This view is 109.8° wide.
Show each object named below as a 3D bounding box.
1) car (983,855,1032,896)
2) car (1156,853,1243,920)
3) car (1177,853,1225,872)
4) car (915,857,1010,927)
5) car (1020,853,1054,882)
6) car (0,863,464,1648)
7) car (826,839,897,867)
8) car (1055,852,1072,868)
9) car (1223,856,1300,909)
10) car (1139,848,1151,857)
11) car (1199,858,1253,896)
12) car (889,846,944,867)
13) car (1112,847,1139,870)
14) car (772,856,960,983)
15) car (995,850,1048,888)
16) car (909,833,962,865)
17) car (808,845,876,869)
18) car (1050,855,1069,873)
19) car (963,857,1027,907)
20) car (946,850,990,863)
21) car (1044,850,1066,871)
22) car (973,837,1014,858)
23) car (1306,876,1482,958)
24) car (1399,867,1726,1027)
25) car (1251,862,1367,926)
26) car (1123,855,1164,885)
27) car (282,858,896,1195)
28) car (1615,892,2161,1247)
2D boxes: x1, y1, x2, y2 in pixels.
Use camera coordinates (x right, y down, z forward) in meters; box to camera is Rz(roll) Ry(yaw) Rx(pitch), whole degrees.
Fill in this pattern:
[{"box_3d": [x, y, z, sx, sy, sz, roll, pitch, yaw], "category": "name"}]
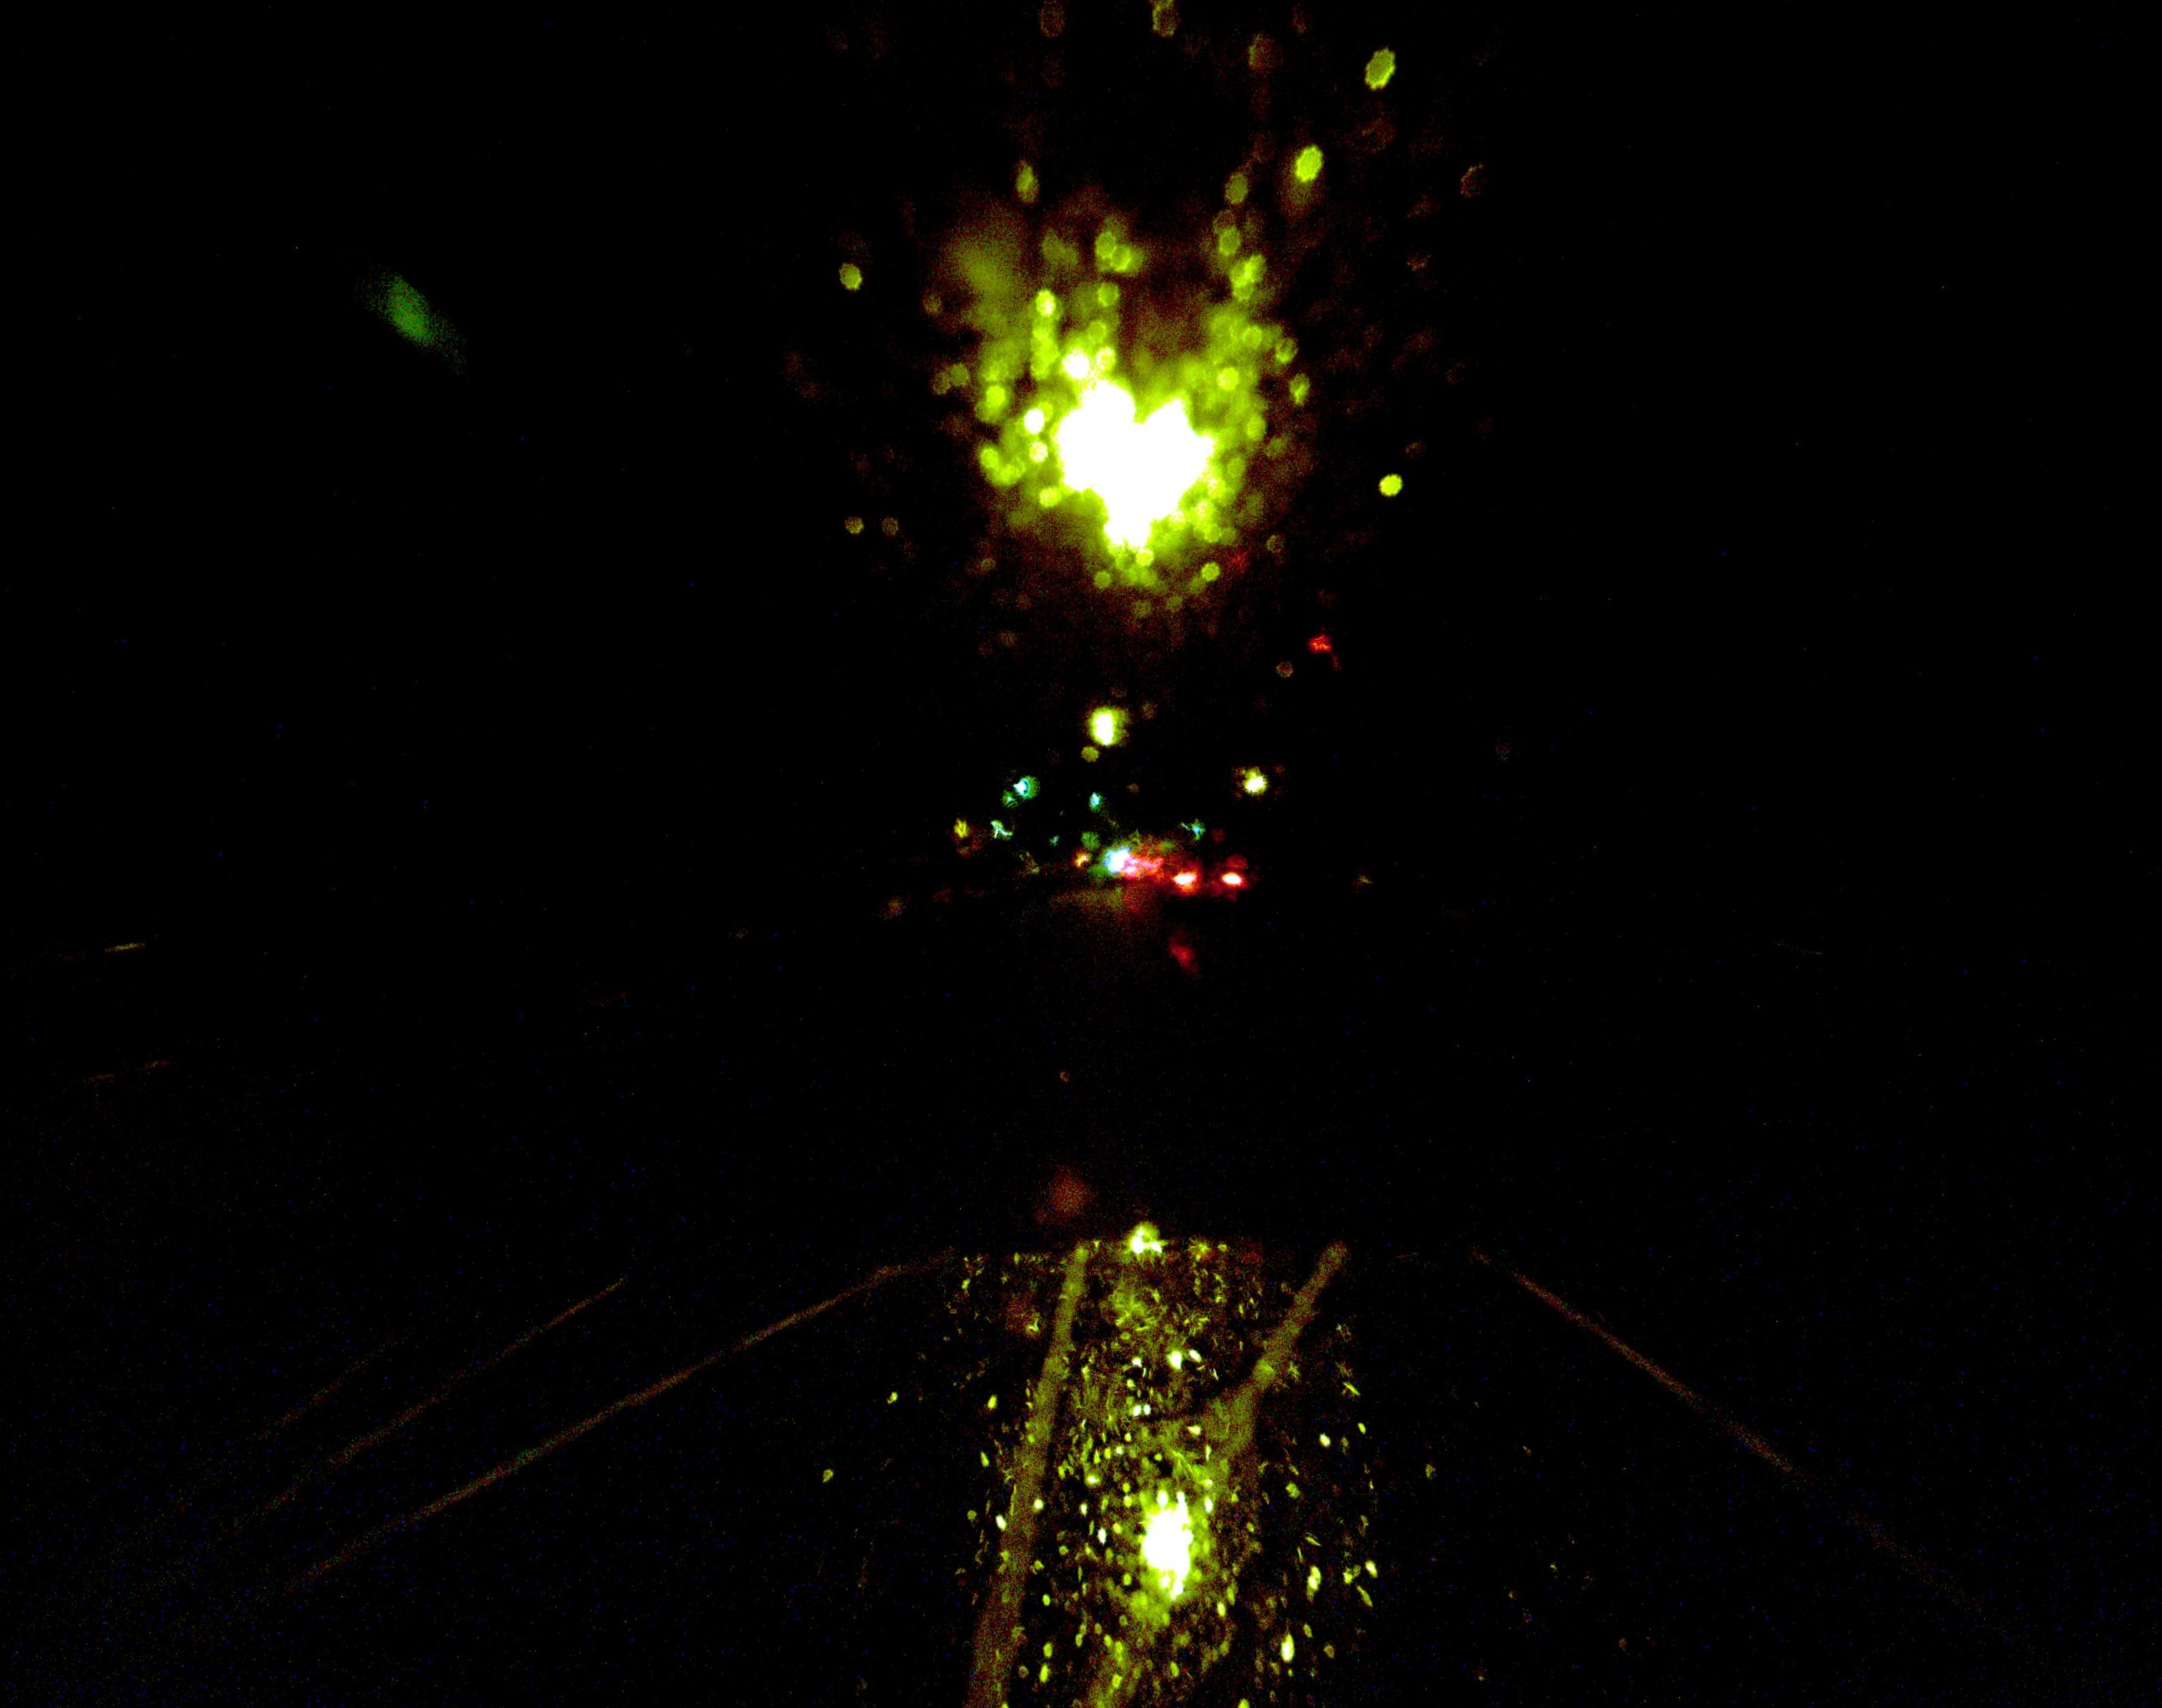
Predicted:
[{"box_3d": [-2.799, 0.785, 29.581, 1.608, 1.464, 3.951, 2, 0, -2], "category": "car"}, {"box_3d": [3.031, 0.789, 20.221, 1.710, 1.531, 4.371, 2, 0, 2], "category": "car"}, {"box_3d": [11.843, 0.821, 74.929, 4.539, 1.695, 1.853, 2, 0, 15], "category": "car"}, {"box_3d": [-2.769, 0.845, 18.582, 1.800, 1.464, 3.951, 2, 0, -2], "category": "car"}, {"box_3d": [-2.563, 0.785, 44.990, 1.896, 1.581, 3.835, 2, 0, -2], "category": "car"}, {"box_3d": [-3.039, 0.812, 0.689, 1.800, 1.538, 3.951, 2, 0, -2], "category": "car"}, {"box_3d": [-14.247, -0.081, 49.485, 4.090, 1.697, 1.667, 2, 0, 4], "category": "car"}, {"box_3d": [-1.778, 0.605, 77.002, 1.695, 1.581, 3.765, 2, 0, -1], "category": "car"}, {"box_3d": [6.114, 0.912, 26.133, 1.628, 1.564, 3.962, 3, 0, 0], "category": "car"}, {"box_3d": [11.619, -0.259, 138.050, 1.849, 1.440, 4.549, 2, 0, 2], "category": "car"}, {"box_3d": [6.087, 0.919, 32.323, 1.627, 1.464, 3.964, 2, 0, 2], "category": "car"}, {"box_3d": [-12.314, 0.184, 57.030, 3.663, 1.448, 1.666, 2, 0, 1], "category": "car"}, {"box_3d": [3.248, 0.347, 56.256, 1.890, 1.588, 4.549, 2, 0, 2], "category": "car"}, {"box_3d": [-2.988, 0.823, 11.459, 1.800, 1.538, 3.951, 2, 0, -2], "category": "car"}, {"box_3d": [-2.611, 0.662, 34.472, 1.799, 1.538, 4.786, 2, 0, 2], "category": "car"}, {"box_3d": [-12.312, -0.439, 64.469, 4.022, 2.603, 1.803, 2, 0, 7], "category": "car"}, {"box_3d": [-14.711, 0.178, 46.879, 3.663, 1.333, 1.666, 2, 0, 1], "category": "car"}, {"box_3d": [-1.913, 0.869, 67.382, 1.649, 1.581, 3.445, 2, 0, -2], "category": "car"}, {"box_3d": [-2.748, 0.853, 24.970, 1.608, 1.464, 3.951, 2, 0, 0], "category": "car"}, {"box_3d": [-11.483, 0.244, 77.233, 4.022, 1.261, 1.803, 2, 0, 7], "category": "car"}, {"box_3d": [-2.099, 0.528, 61.945, 1.695, 1.581, 3.765, 2, 0, -2], "category": "car"}, {"box_3d": [-9.441, -0.718, 82.070, 4.022, 2.156, 1.803, 2, 0, 7], "category": "car"}, {"box_3d": [6.102, 1.147, 15.473, 1.843, 1.260, 4.639, 2, 0, 3], "category": "car"}, {"box_3d": [5.817, 0.995, 9.884, 1.710, 1.531, 4.060, 3, 0, 2], "category": "car"}, {"box_3d": [5.952, 0.971, 20.403, 1.799, 1.464, 4.396, 2, 0, 1], "category": "car"}, {"box_3d": [3.378, 0.848, 41.805, 2.044, 1.539, 4.683, 0, 0, 2], "category": "car"}, {"box_3d": [-2.920, 0.851, 6.016, 1.872, 1.570, 4.747, 2, 0, -2], "category": "car"}, {"box_3d": [5.531, 1.044, 4.268, 1.624, 1.410, 4.674, 2, 0, -2], "category": "car"}]
